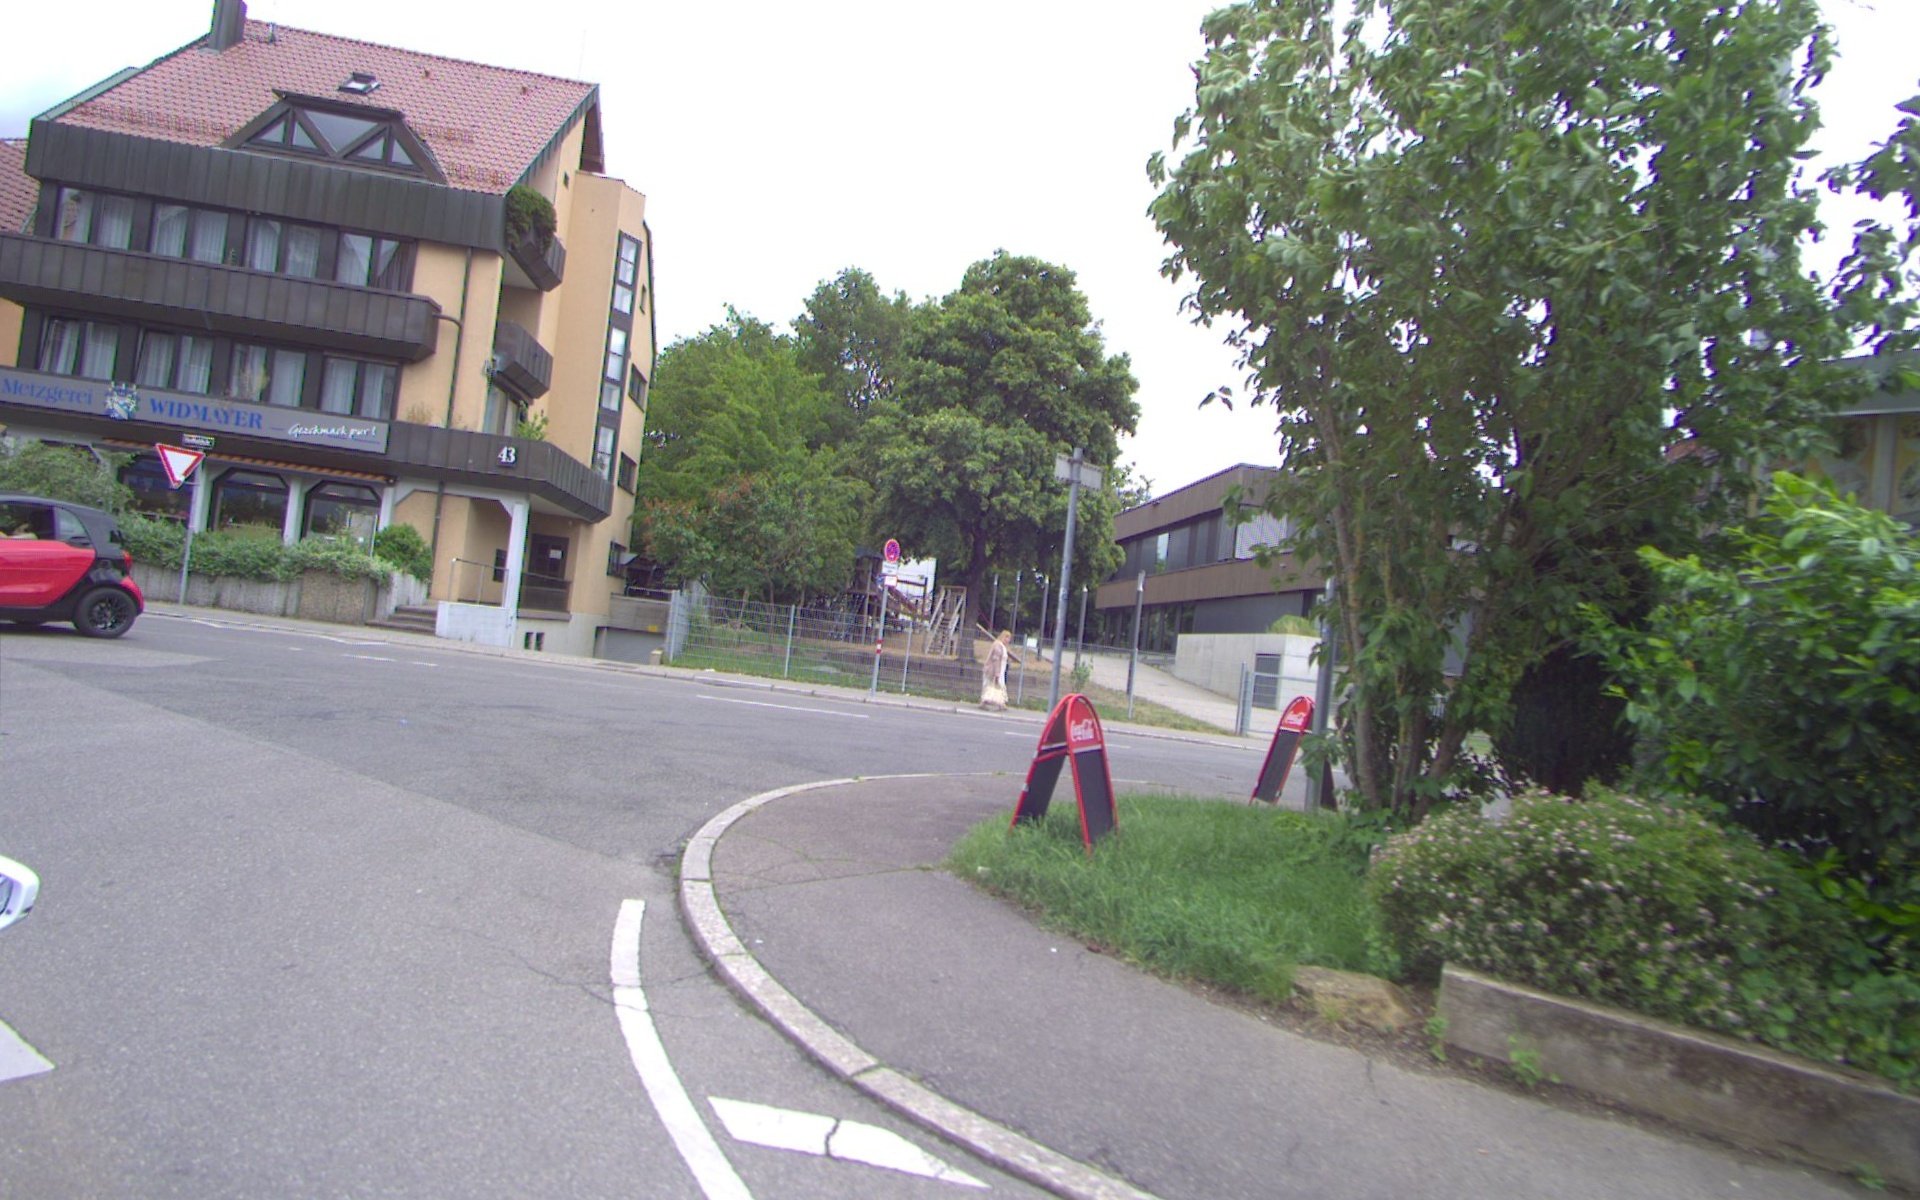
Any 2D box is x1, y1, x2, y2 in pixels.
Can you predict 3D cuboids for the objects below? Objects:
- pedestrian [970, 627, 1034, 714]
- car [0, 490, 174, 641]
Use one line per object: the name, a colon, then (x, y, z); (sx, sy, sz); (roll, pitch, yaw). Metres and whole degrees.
pedestrian: (0.814, 1.355, 19.619); (0.943, 1.553, 0.900); (8, -1, -6)
car: (-10.927, -0.478, 11.097); (1.786, 1.538, 2.941); (7, -1, 19)
